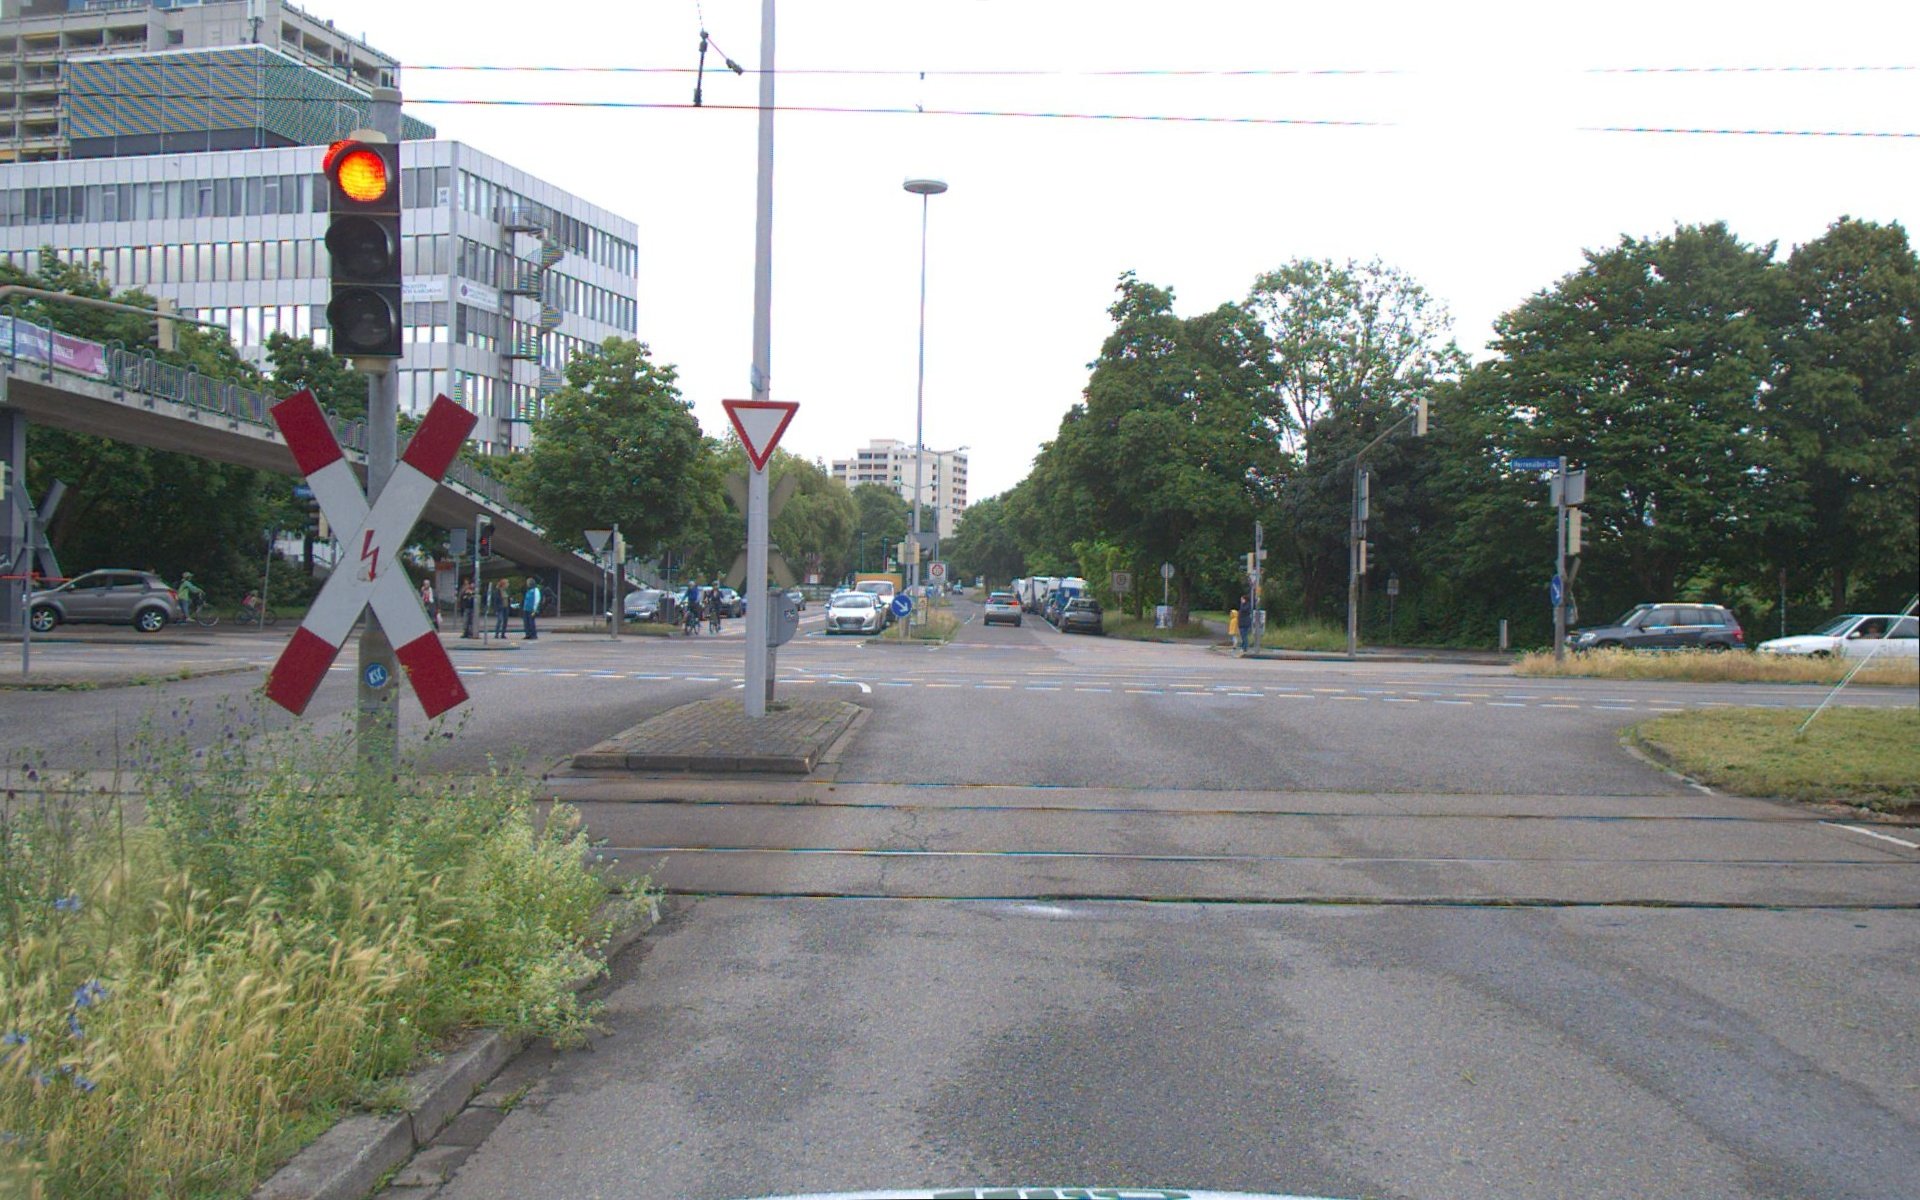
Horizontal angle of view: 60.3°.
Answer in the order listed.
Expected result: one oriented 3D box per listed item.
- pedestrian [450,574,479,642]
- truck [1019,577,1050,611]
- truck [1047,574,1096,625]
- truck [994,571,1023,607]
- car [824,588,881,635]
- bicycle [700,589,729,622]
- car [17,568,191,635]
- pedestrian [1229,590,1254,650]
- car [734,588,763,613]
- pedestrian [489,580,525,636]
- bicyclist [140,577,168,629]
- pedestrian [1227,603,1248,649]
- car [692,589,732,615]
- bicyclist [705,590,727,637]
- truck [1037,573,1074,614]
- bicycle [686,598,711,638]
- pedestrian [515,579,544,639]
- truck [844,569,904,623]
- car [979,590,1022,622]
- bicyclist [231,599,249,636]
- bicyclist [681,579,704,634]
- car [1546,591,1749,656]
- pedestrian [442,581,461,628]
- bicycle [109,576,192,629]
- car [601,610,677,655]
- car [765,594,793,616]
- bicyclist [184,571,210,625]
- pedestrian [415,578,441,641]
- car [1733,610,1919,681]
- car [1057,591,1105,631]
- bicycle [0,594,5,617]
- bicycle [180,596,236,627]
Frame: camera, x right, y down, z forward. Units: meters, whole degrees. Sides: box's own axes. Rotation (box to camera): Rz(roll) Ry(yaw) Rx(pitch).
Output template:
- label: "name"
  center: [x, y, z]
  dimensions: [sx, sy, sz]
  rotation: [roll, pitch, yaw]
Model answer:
- label: "pedestrian"
  center: [-13.658, 0.211, 45.579]
  dimensions: [0.625, 1.835, 0.800]
  rotation: [1, 0, -10]
- label: "truck"
  center: [5.945, -0.441, 132.228]
  dimensions: [1.954, 2.618, 5.375]
  rotation: [1, 0, -3]
- label: "truck"
  center: [6.073, -0.004, 90.807]
  dimensions: [2.130, 2.703, 6.245]
  rotation: [0, 0, -1]
- label: "truck"
  center: [4.169, -0.912, 142.995]
  dimensions: [1.954, 3.061, 5.767]
  rotation: [1, 0, -4]
- label: "car"
  center: [-3.735, 0.383, 57.859]
  dimensions: [1.753, 1.545, 4.325]
  rotation: [1, 0, -1]
- label: "bicycle"
  center: [-8.631, 0.177, 58.194]
  dimensions: [0.712, 1.120, 2.264]
  rotation: [1, 0, -1]
- label: "car"
  center: [-23.753, 0.051, 45.944]
  dimensions: [4.156, 1.765, 1.610]
  rotation: [1, 0, -34]
- label: "pedestrian"
  center: [8.390, 0.588, 49.338]
  dimensions: [0.643, 1.780, 0.459]
  rotation: [1, 0, -1]
- label: "car"
  center: [-13.725, 0.036, 107.435]
  dimensions: [1.415, 1.579, 3.663]
  rotation: [1, 0, -1]
- label: "pedestrian"
  center: [-12.494, 0.215, 45.645]
  dimensions: [0.901, 1.537, 0.403]
  rotation: [1, 0, -12]
- label: "bicyclist"
  center: [-25.820, 0.101, 52.963]
  dimensions: [0.739, 1.654, 0.522]
  rotation: [1, -1, -30]
- label: "pedestrian"
  center: [8.393, 0.786, 49.963]
  dimensions: [0.516, 1.365, 0.525]
  rotation: [1, 0, -1]
- label: "car"
  center: [-14.170, 0.097, 94.816]
  dimensions: [1.727, 1.419, 3.999]
  rotation: [1, 0, -1]
- label: "bicyclist"
  center: [-8.639, 0.479, 58.580]
  dimensions: [0.665, 1.622, 0.695]
  rotation: [1, -1, -1]
- label: "truck"
  center: [6.905, -0.482, 120.170]
  dimensions: [1.954, 2.888, 5.726]
  rotation: [1, 0, -4]
- label: "bicycle"
  center: [-8.771, 0.590, 55.494]
  dimensions: [0.532, 1.289, 2.110]
  rotation: [1, 0, -1]
- label: "pedestrian"
  center: [-11.876, 0.257, 45.642]
  dimensions: [0.673, 1.633, 0.487]
  rotation: [1, 0, -5]
- label: "truck"
  center: [-3.688, -0.188, 71.913]
  dimensions: [2.111, 2.237, 5.841]
  rotation: [1, 0, 1]
- label: "car"
  center: [2.018, 0.269, 82.843]
  dimensions: [1.979, 1.531, 3.999]
  rotation: [1, 0, -1]
- label: "bicyclist"
  center: [-23.717, 0.561, 54.485]
  dimensions: [0.396, 1.202, 0.377]
  rotation: [1, 1, 1]
- label: "bicyclist"
  center: [-8.952, 0.216, 55.361]
  dimensions: [0.631, 1.799, 0.646]
  rotation: [1, 0, -1]
- label: "car"
  center: [17.435, 0.588, 42.084]
  dimensions: [4.373, 1.530, 1.846]
  rotation: [1, 0, 0]
- label: "pedestrian"
  center: [-17.303, 0.146, 56.316]
  dimensions: [0.570, 1.607, 0.777]
  rotation: [1, 0, -19]
- label: "bicycle"
  center: [-25.896, 0.099, 52.901]
  dimensions: [2.333, 1.654, 0.522]
  rotation: [1, 0, -30]
- label: "car"
  center: [-12.153, 1.194, 62.892]
  dimensions: [1.636, 1.579, 4.003]
  rotation: [1, 0, 7]
- label: "car"
  center: [-13.760, 0.344, 125.774]
  dimensions: [1.637, 1.579, 4.000]
  rotation: [1, 0, 0]
- label: "bicyclist"
  center: [-24.237, -0.063, 52.534]
  dimensions: [0.553, 1.673, 0.531]
  rotation: [1, -1, 0]
- label: "pedestrian"
  center: [-14.596, 0.251, 45.378]
  dimensions: [0.608, 1.721, 0.404]
  rotation: [1, 0, -15]
- label: "car"
  center: [18.591, 0.944, 34.600]
  dimensions: [4.052, 1.381, 1.647]
  rotation: [1, 0, 0]
- label: "car"
  center: [5.388, 0.462, 73.998]
  dimensions: [1.747, 1.691, 3.999]
  rotation: [1, 0, -1]
- label: "bicycle"
  center: [-30.331, 0.173, 51.242]
  dimensions: [1.283, 0.704, 0.286]
  rotation: [1, 0, -37]
- label: "bicycle"
  center: [-23.847, 0.362, 52.501]
  dimensions: [0.618, 0.941, 2.523]
  rotation: [1, 0, -1]
